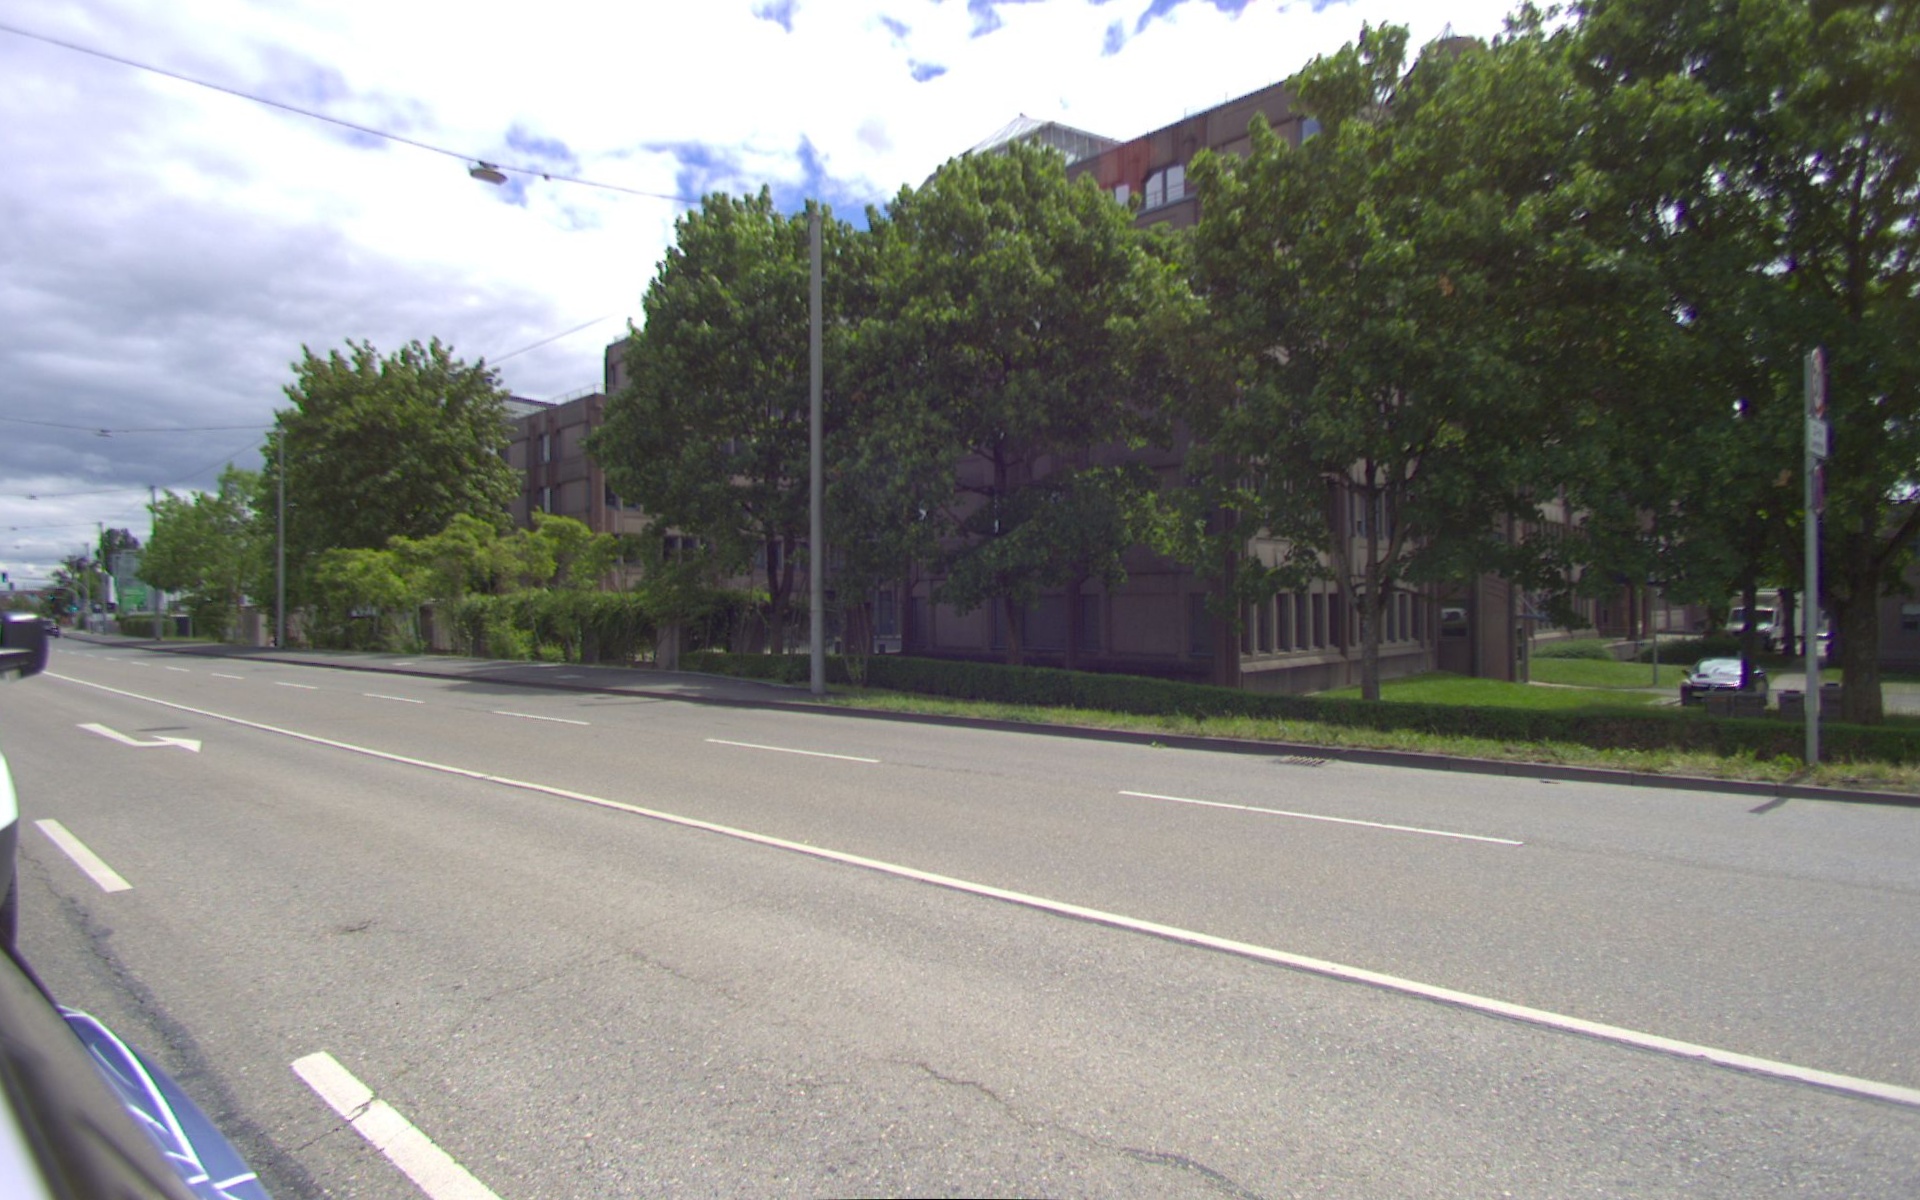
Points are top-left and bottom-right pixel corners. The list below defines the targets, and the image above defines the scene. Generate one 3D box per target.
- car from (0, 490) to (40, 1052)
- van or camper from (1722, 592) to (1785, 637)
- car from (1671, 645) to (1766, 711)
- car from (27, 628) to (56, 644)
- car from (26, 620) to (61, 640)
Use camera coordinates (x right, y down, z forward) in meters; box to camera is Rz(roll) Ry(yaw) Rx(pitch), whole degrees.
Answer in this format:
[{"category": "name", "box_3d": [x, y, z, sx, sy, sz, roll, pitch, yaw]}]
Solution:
[{"category": "car", "box_3d": [-6.009, 0.617, 4.917, 5.885, 1.932, 1.971, -1, -1, 45]}, {"category": "van or camper", "box_3d": [39.472, 0.687, 50.306, 2.356, 2.120, 5.136, 0, 0, 39]}, {"category": "car", "box_3d": [22.196, 2.216, 29.572, 1.787, 1.741, 3.943, -1, -2, 43]}, {"category": "car", "box_3d": [-96.834, 3.772, 106.650, 4.312, 1.597, 1.777, 0, 0, 42]}, {"category": "car", "box_3d": [-78.793, 2.544, 87.005, 4.572, 1.627, 1.847, 0, -1, 43]}]
